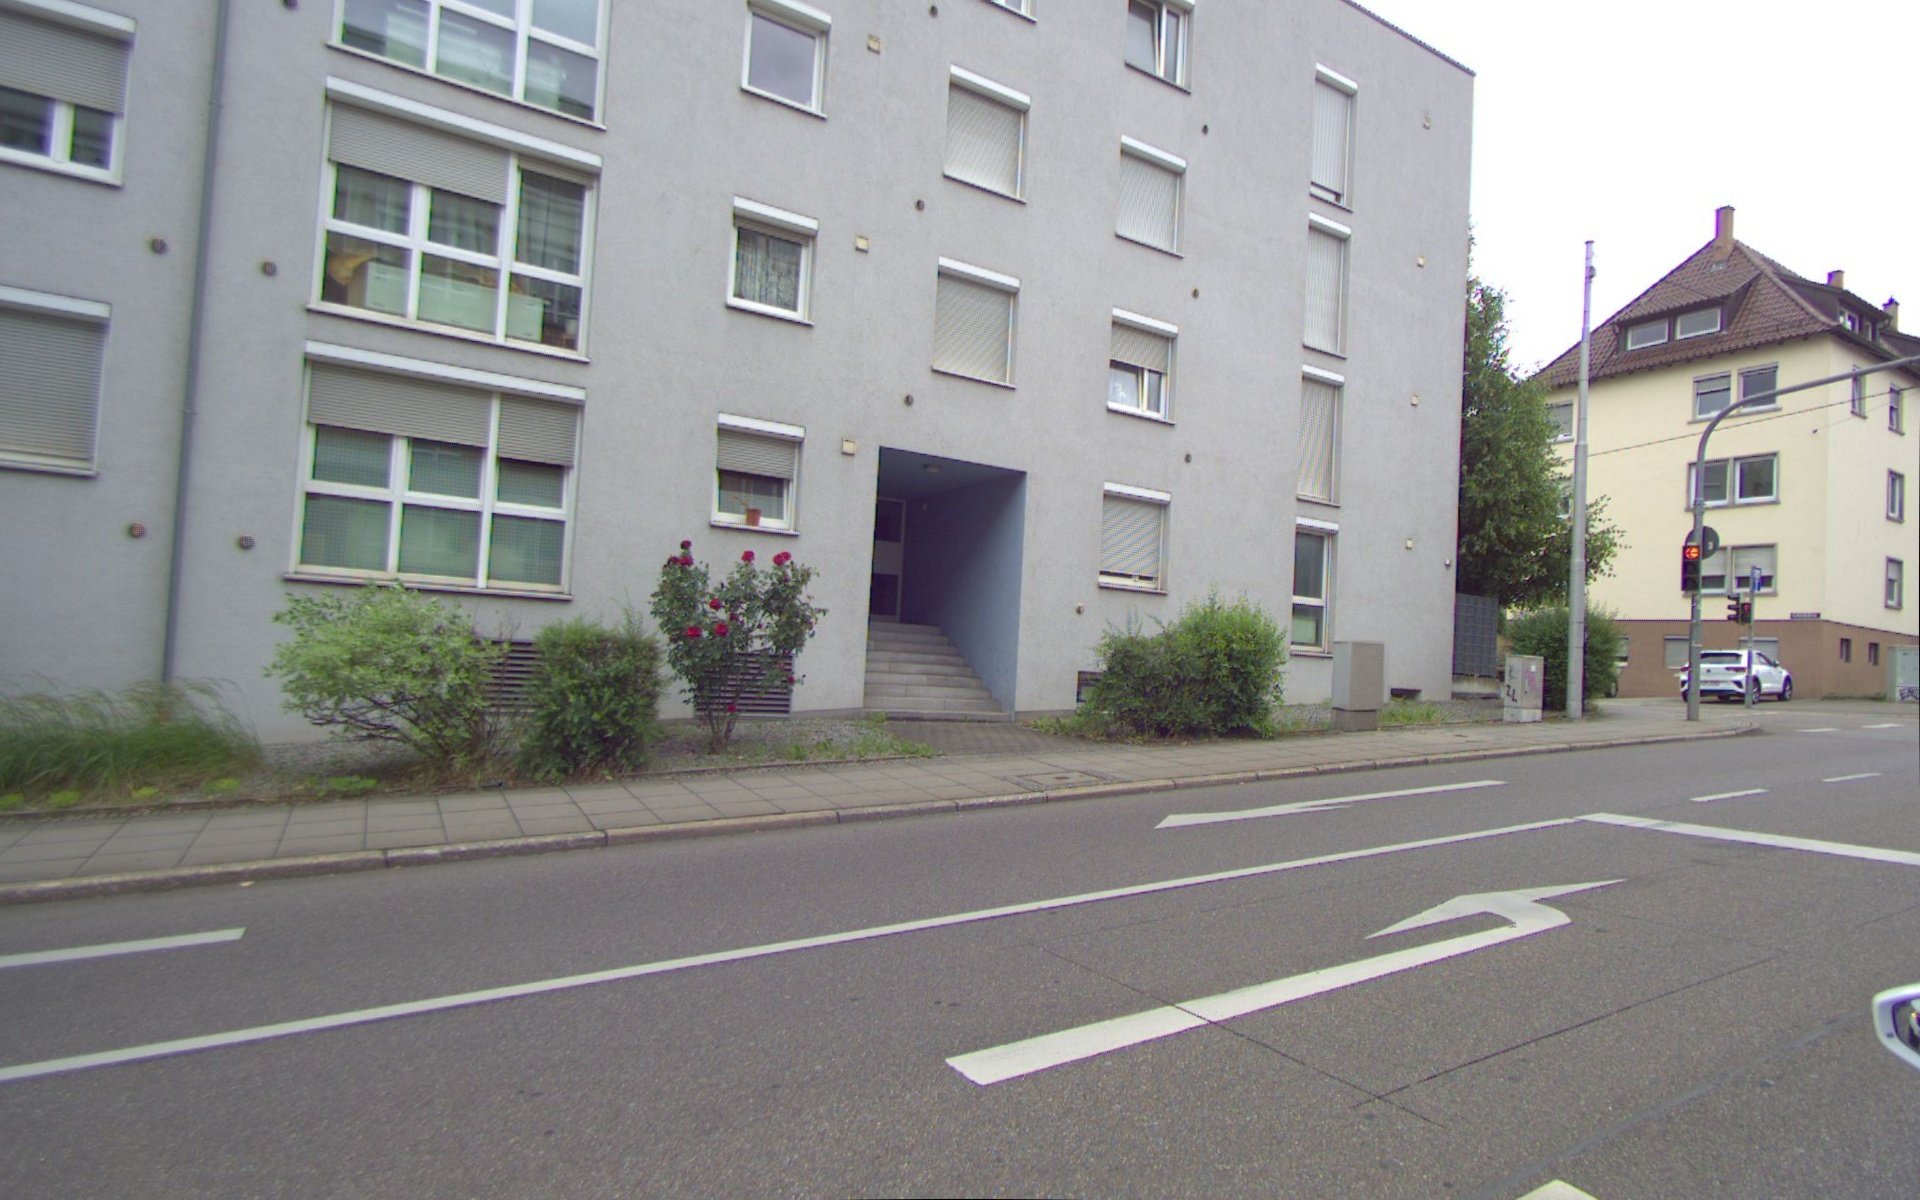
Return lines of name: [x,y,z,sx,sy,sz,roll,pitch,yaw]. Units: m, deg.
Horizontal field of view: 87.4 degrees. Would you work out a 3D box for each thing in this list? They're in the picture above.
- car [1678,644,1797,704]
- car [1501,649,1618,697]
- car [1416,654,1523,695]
car: [23.275,2.179,30.034,3.960,1.683,1.660,2,-4,-35]
car: [20.610,2.501,34.500,4.053,1.566,1.662,2,-4,-30]
car: [18.792,2.712,37.015,3.953,1.380,1.662,2,-1,-30]
